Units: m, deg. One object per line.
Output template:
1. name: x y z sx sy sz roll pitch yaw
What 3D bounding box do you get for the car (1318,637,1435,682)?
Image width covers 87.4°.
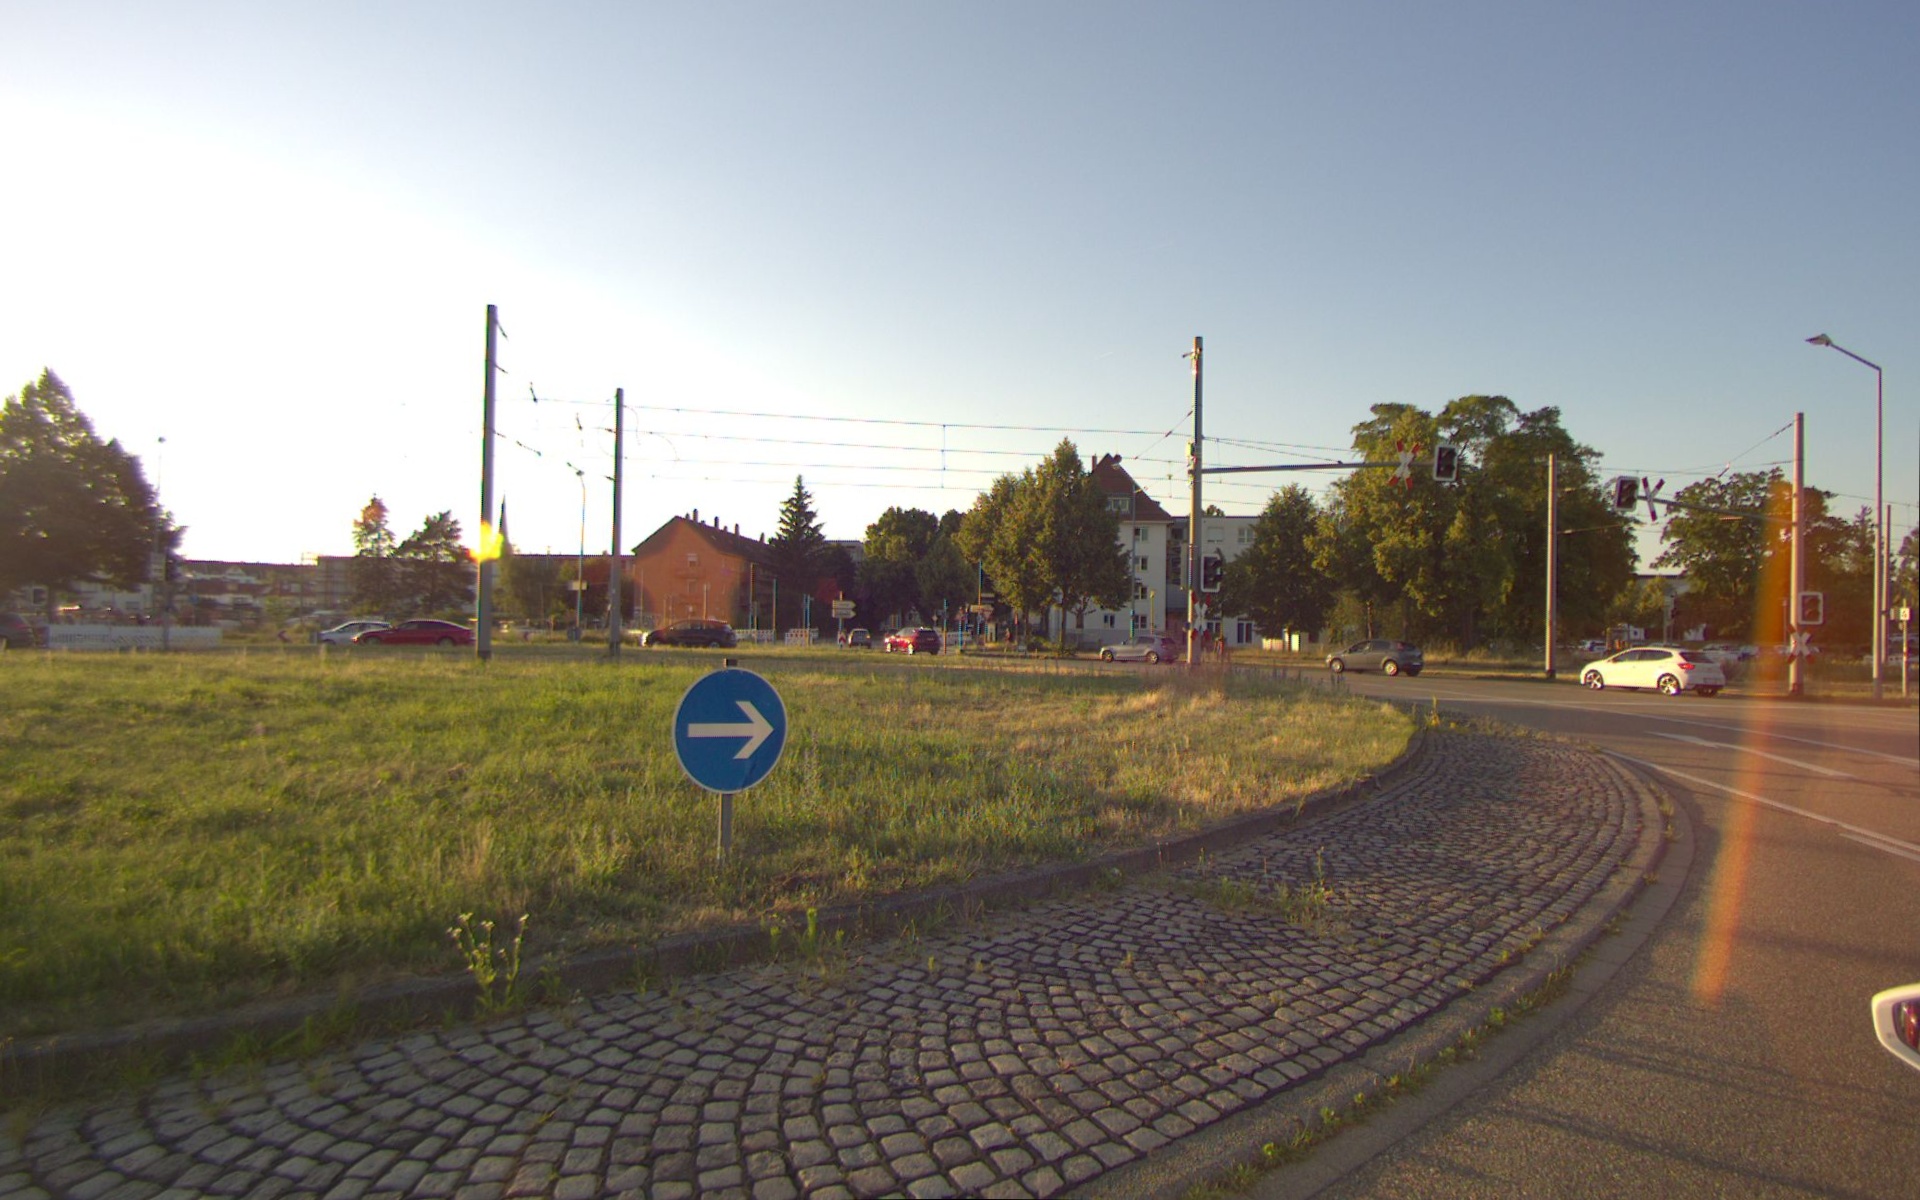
1. car: 17.158 2.429 41.578 1.848 1.473 4.126 5 -1 -32

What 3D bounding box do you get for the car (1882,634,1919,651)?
1. car: 108.989 4.919 115.493 3.919 1.840 2.001 1 -1 6

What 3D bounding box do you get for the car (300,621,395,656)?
1. car: -30.536 1.915 50.220 3.954 1.643 1.983 2 -1 -31

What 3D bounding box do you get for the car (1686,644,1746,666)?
1. car: 59.985 4.339 79.772 1.960 1.625 4.002 1 -1 4

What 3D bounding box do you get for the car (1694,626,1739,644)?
1. car: 94.297 4.352 125.288 4.033 2.040 2.001 1 -1 5

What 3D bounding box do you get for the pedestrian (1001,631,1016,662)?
1. pedestrian: 3.094 2.980 64.504 0.614 1.918 0.663 2 0 -34

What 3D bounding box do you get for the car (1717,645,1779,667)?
1. car: 62.097 4.407 79.264 1.960 1.625 4.002 1 -1 4

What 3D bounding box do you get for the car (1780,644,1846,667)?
1. car: 66.825 4.302 78.807 1.960 1.625 4.002 1 -1 4

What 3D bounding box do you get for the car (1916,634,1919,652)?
1. car: 108.343 4.802 110.650 3.919 2.040 2.001 1 -1 12

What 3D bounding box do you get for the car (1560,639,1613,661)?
1. car: 49.889 3.995 80.108 1.960 1.625 4.002 1 -1 4

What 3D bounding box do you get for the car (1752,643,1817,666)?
1. car: 64.469 4.219 78.602 1.960 1.625 4.002 1 -1 4

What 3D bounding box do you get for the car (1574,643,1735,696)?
1. car: 21.852 2.158 31.799 1.837 1.473 3.959 1 -1 -15

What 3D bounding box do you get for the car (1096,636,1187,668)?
1. car: 9.096 2.581 50.480 4.097 1.408 1.860 0 -2 38

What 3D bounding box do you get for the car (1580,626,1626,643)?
1. car: 80.683 4.363 126.074 4.507 2.040 2.001 1 -1 1

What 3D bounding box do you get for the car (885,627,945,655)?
1. car: -2.820 2.531 62.168 1.975 1.594 4.383 2 -1 -28

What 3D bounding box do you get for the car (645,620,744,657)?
1. car: -11.974 1.735 45.535 3.920 1.605 1.896 1 -1 2

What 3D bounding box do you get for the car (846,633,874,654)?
1. car: -7.894 3.401 79.036 1.852 1.483 4.664 1 -1 -9

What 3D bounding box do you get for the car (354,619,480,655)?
1. car: -23.274 1.587 43.225 4.425 1.410 1.889 2 -1 -17

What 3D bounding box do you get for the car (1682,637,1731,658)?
1. car: 76.875 4.870 103.520 3.935 2.040 1.993 0 -1 36

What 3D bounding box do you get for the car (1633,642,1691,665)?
1. car: 55.218 4.170 79.139 1.960 1.625 4.002 1 -1 4

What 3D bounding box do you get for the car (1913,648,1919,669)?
1. car: 76.796 4.638 77.969 1.960 1.625 4.002 1 -1 4

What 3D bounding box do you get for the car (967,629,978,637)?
1. car: 2.754 6.988 214.539 1.959 1.617 4.003 1 -1 6

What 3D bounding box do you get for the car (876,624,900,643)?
1. car: -6.845 3.197 95.956 1.961 1.659 4.525 1 -1 -1

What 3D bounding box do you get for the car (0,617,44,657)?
1. car: -35.251 1.282 35.308 1.972 1.394 4.360 0 -2 42

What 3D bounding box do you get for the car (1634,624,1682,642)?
1. car: 87.354 4.120 125.796 4.505 2.040 2.001 1 -1 5
